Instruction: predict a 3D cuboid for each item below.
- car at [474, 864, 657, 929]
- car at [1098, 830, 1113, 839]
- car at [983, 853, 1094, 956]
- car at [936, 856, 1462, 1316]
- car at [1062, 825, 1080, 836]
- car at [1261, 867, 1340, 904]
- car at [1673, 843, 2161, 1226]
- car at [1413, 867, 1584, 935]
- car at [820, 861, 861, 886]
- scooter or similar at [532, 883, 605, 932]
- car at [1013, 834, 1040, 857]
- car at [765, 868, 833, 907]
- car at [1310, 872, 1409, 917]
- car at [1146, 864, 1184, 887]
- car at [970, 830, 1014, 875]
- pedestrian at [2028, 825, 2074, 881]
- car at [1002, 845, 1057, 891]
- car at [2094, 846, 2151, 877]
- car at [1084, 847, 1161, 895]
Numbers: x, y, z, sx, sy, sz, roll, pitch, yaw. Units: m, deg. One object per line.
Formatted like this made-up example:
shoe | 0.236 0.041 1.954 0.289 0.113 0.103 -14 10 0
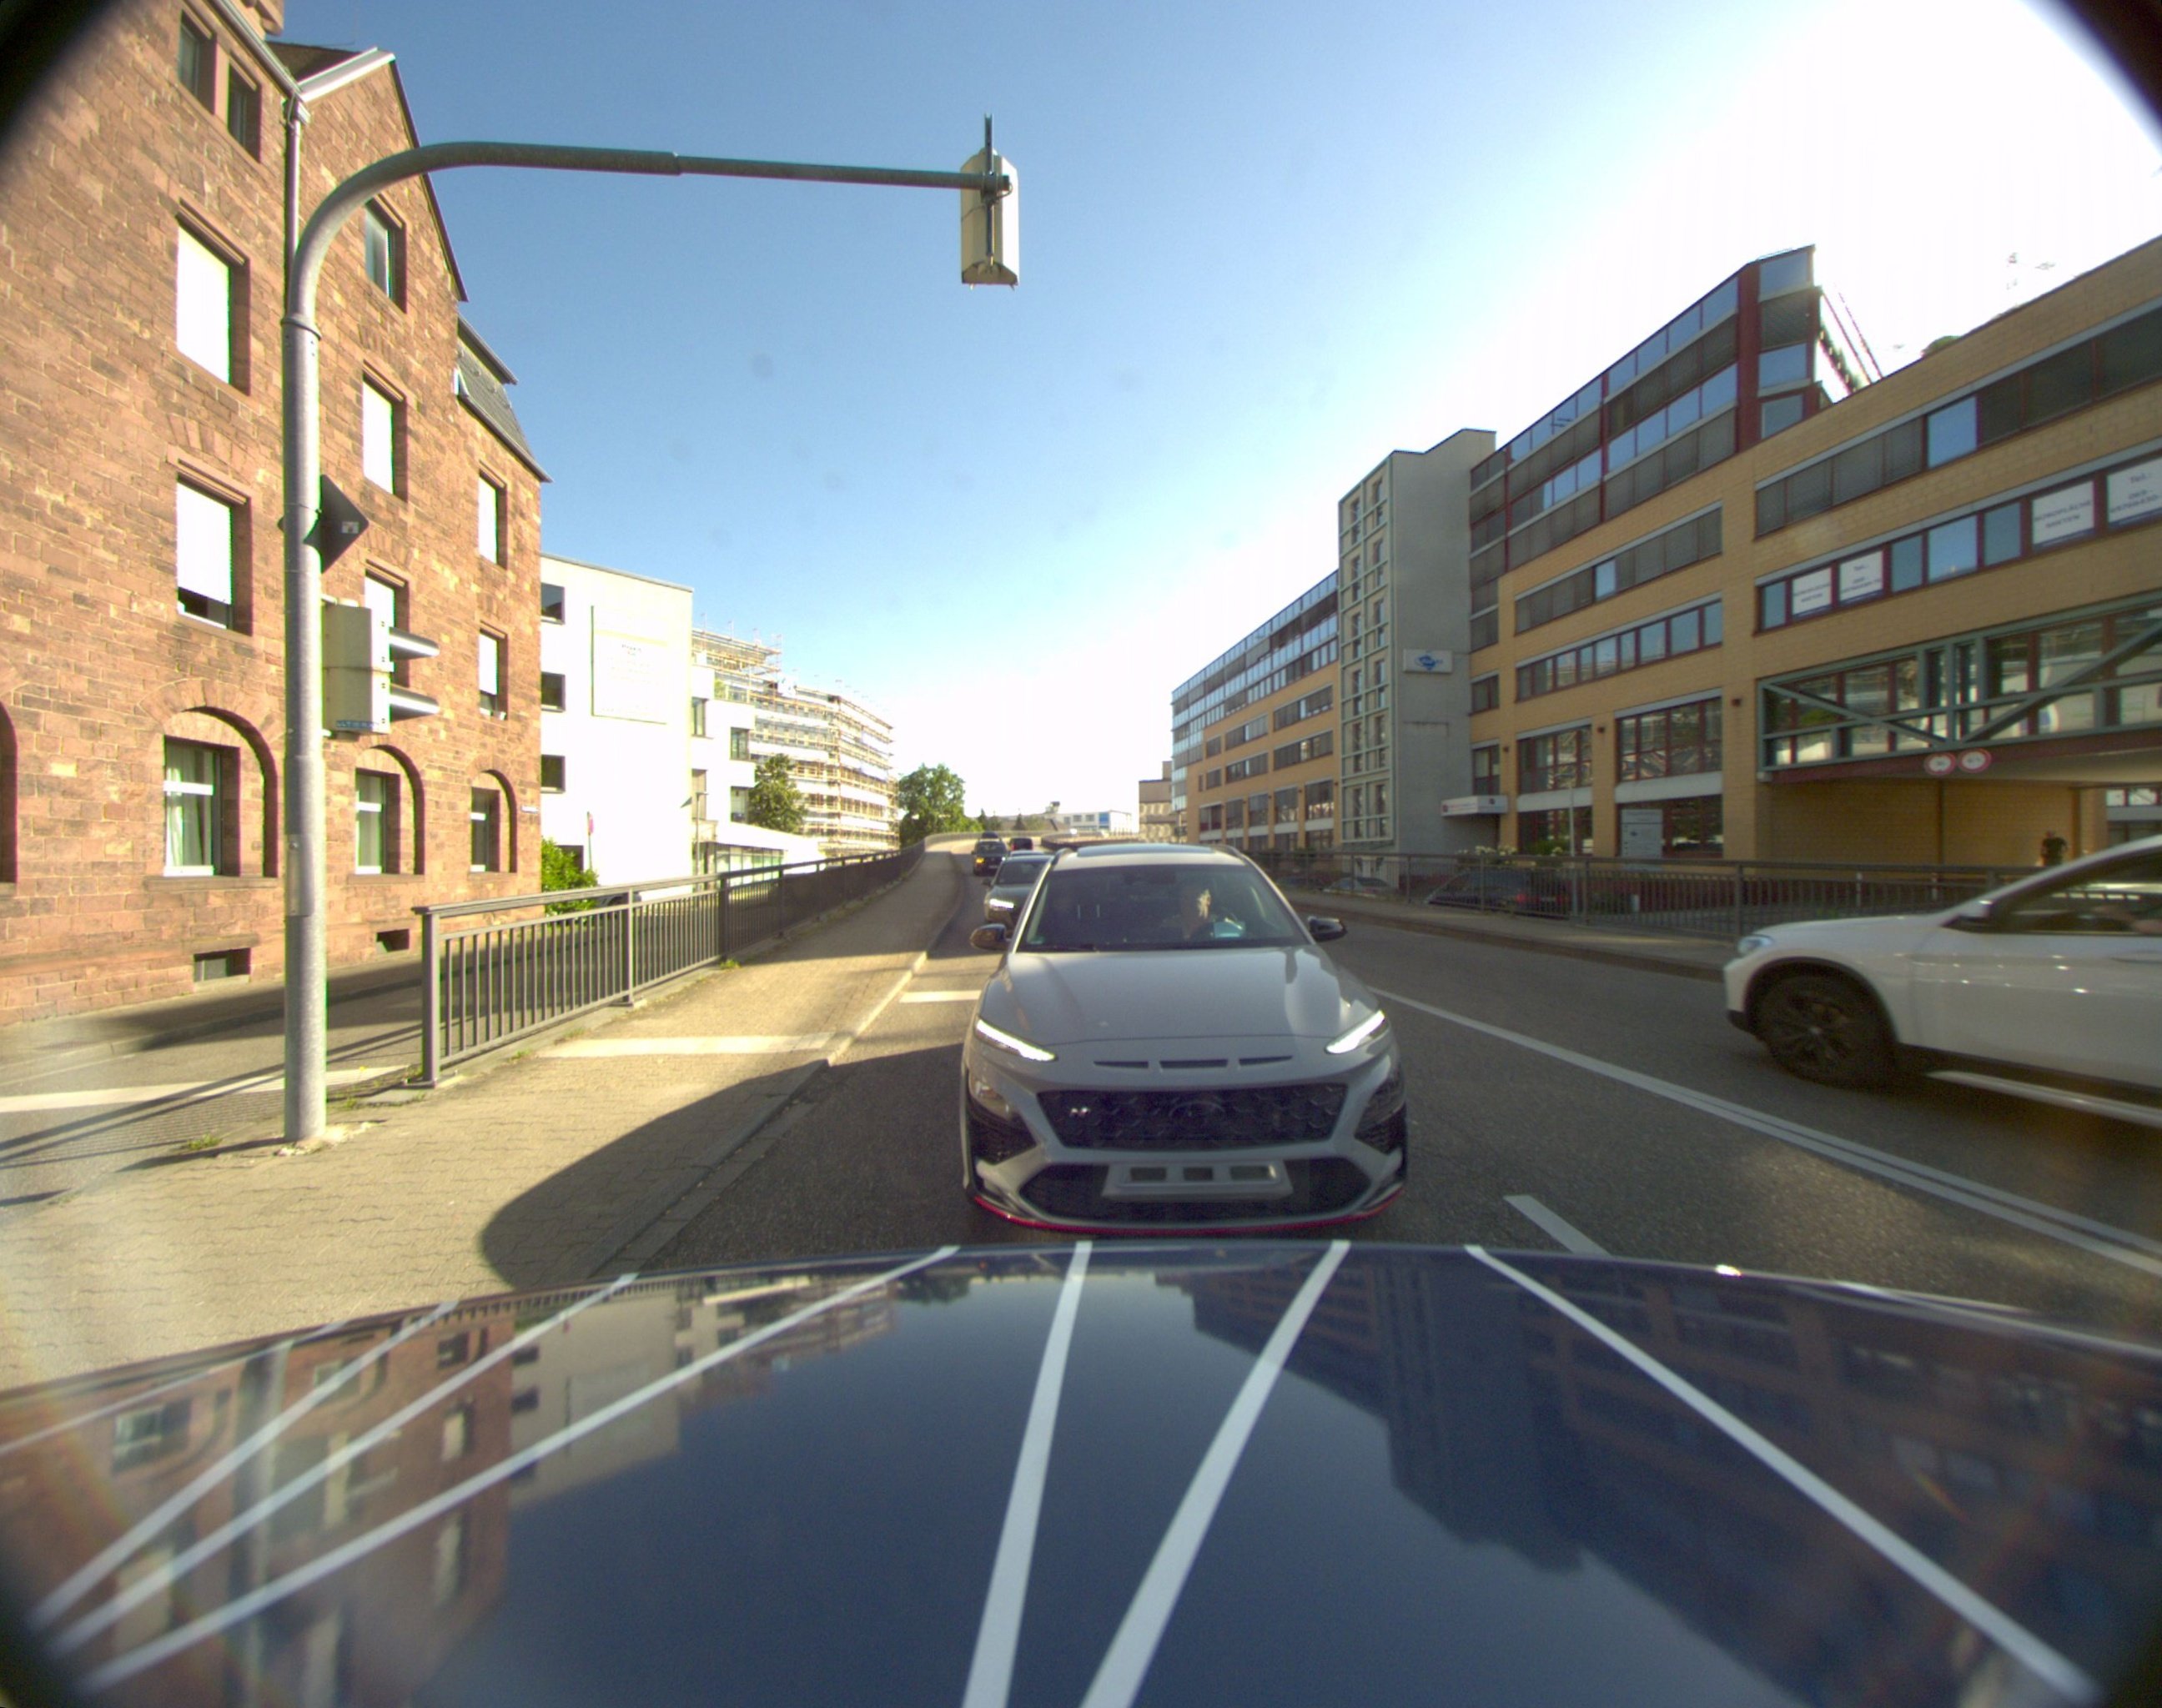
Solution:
car | -16.977 1.303 25.213 1.823 1.757 4.658 1 2 42
car | 5.175 -4.059 159.440 1.822 1.594 4.007 -1 -1 21
car | -0.828 0.793 14.037 1.722 1.483 4.166 -1 2 -5
car | 0.461 0.841 4.816 1.849 1.561 4.220 -1 1 1
car | -1.806 -4.419 142.984 1.812 1.791 5.127 0 0 17
car | 10.283 1.424 35.906 1.826 1.594 4.353 0 0 -10
car | 5.549 0.776 3.366 1.839 1.643 4.625 0 0 -8
car | 12.407 1.305 23.012 1.957 1.747 4.683 -1 0 -11
car | -15.524 1.241 49.168 1.850 1.526 3.997 0 0 -7
scooter or similar | -14.270 1.474 21.198 1.463 1.212 0.784 -3 1 -14
car | -4.749 -0.709 65.517 2.000 1.924 4.848 0 0 -9
car | -13.041 1.495 35.421 1.850 1.422 4.678 -1 2 -6
car | 11.088 1.563 30.595 1.826 1.594 4.353 0 0 -10
car | 6.383 1.603 57.963 2.000 1.652 3.997 0 0 -7
car | -4.757 -0.138 40.149 1.911 2.201 4.593 -1 2 -11
pedestrian | 32.768 -0.033 25.669 0.787 1.833 0.678 0 0 -12
car | -2.057 0.455 29.162 1.850 1.527 4.504 -1 2 -7
car | 53.701 0.390 39.204 3.159 1.564 1.639 0 -1 -38
car | 1.442 0.557 28.392 1.826 1.495 4.444 0 2 -11
